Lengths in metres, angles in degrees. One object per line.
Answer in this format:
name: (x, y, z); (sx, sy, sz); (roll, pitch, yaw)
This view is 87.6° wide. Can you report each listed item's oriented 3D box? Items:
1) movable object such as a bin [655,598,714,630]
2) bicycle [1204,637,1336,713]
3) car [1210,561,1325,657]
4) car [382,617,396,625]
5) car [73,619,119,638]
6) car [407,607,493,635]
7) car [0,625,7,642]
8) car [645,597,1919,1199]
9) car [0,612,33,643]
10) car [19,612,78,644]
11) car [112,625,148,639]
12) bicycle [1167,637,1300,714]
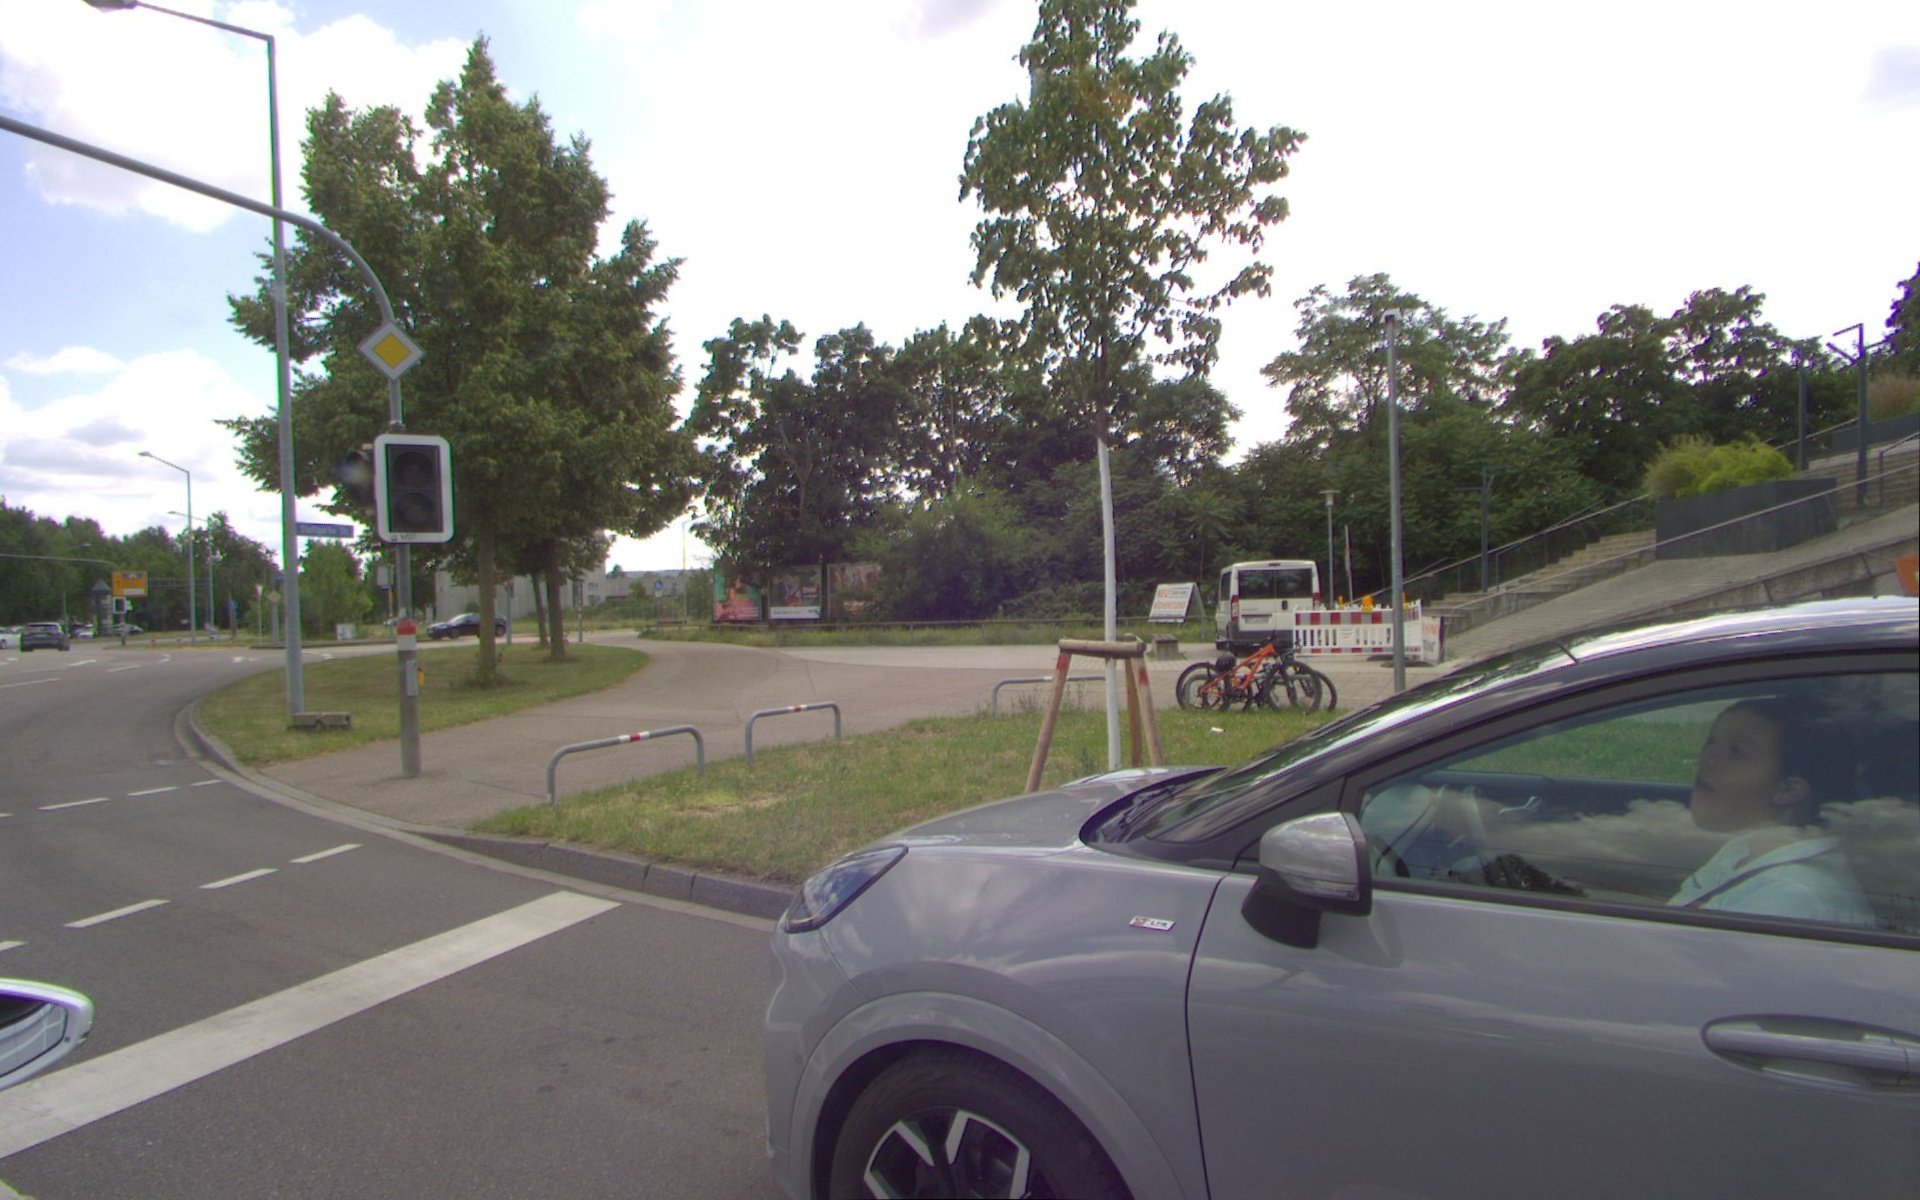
movable object such as a bin: (-34.541, 1.798, 125.938); (2.999, 3.901, 7.598); (-1, -2, 24)
bicycle: (3.625, 0.861, 11.744); (1.449, 0.837, 0.357); (0, 1, 24)
car: (7.591, 0.227, 25.245); (2.108, 2.176, 5.149); (0, 0, 10)
car: (-113.636, 4.123, 199.298); (1.814, 1.506, 3.857); (-1, 0, -19)
car: (-88.699, 2.945, 102.847); (1.811, 1.823, 4.778); (-3, 0, -19)
car: (-28.238, 1.175, 55.533); (1.665, 1.482, 3.981); (0, -1, 31)
car: (-81.862, 2.833, 83.648); (1.880, 1.442, 4.177); (-1, 0, -23)
car: (1.447, 0.754, 1.964); (4.032, 1.490, 1.667); (-1, 0, 31)
car: (-64.826, 1.844, 67.690); (1.968, 2.040, 3.984); (-1, 0, -25)
car: (-52.488, 1.576, 57.725); (1.974, 1.648, 4.278); (-4, 2, -36)
car: (-90.255, 3.476, 108.949); (1.814, 1.505, 3.859); (0, -2, -19)
bicycle: (3.159, 0.858, 11.605); (1.449, 0.837, 0.357); (0, 1, 24)
